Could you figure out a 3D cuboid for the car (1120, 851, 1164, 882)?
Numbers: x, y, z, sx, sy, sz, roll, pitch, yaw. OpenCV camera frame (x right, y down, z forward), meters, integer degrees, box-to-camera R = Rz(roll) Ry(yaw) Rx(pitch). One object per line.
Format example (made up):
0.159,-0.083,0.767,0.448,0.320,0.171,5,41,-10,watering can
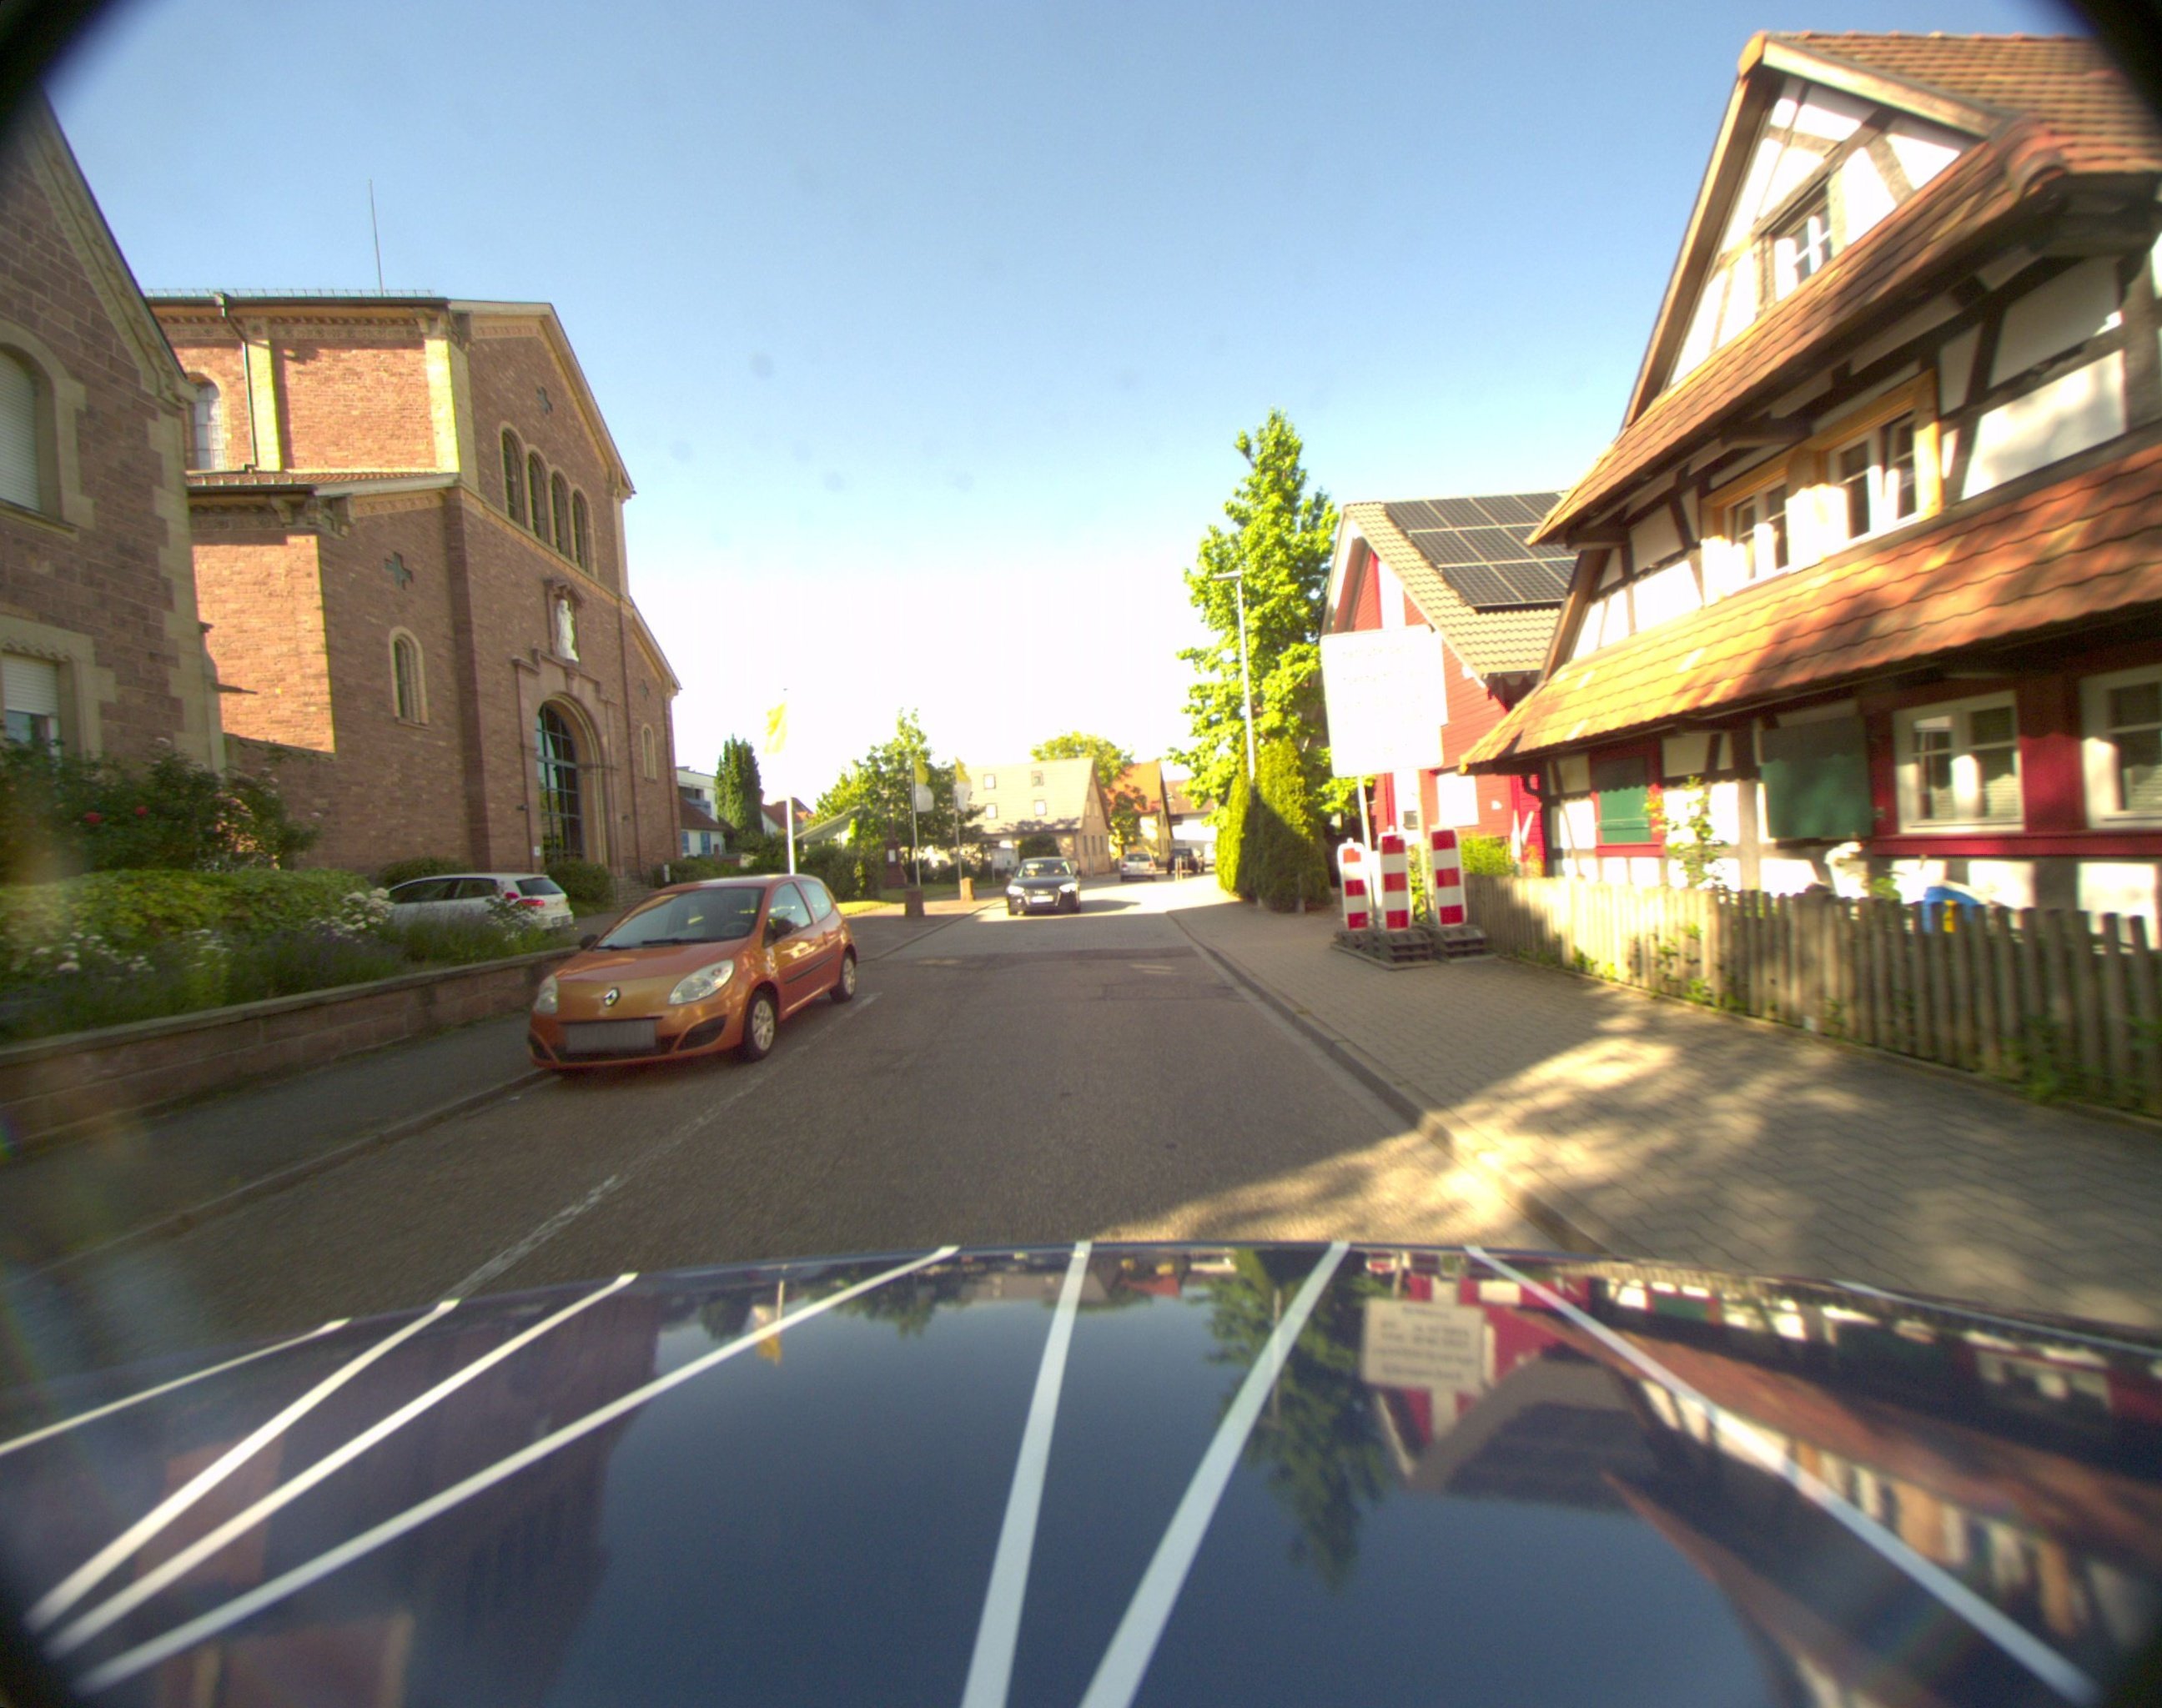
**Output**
3.095,0.590,37.741,1.673,1.394,3.895,-2,0,12,car

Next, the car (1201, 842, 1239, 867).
10.325,0.001,56.240,1.834,1.779,4.359,-1,1,23,car

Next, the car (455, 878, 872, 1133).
-3.353,1.081,7.099,1.652,1.470,3.933,-5,0,-1,car

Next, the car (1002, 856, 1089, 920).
-0.821,0.821,20.310,1.807,1.469,4.344,-1,0,4,car

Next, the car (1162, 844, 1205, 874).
6.233,0.300,45.655,1.834,1.661,4.358,-1,0,17,car

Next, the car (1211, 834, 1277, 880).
6.747,0.072,31.088,1.819,1.586,4.451,-5,0,21,car

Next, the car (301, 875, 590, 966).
-12.295,1.246,14.967,3.910,1.488,1.903,-1,2,-6,car
